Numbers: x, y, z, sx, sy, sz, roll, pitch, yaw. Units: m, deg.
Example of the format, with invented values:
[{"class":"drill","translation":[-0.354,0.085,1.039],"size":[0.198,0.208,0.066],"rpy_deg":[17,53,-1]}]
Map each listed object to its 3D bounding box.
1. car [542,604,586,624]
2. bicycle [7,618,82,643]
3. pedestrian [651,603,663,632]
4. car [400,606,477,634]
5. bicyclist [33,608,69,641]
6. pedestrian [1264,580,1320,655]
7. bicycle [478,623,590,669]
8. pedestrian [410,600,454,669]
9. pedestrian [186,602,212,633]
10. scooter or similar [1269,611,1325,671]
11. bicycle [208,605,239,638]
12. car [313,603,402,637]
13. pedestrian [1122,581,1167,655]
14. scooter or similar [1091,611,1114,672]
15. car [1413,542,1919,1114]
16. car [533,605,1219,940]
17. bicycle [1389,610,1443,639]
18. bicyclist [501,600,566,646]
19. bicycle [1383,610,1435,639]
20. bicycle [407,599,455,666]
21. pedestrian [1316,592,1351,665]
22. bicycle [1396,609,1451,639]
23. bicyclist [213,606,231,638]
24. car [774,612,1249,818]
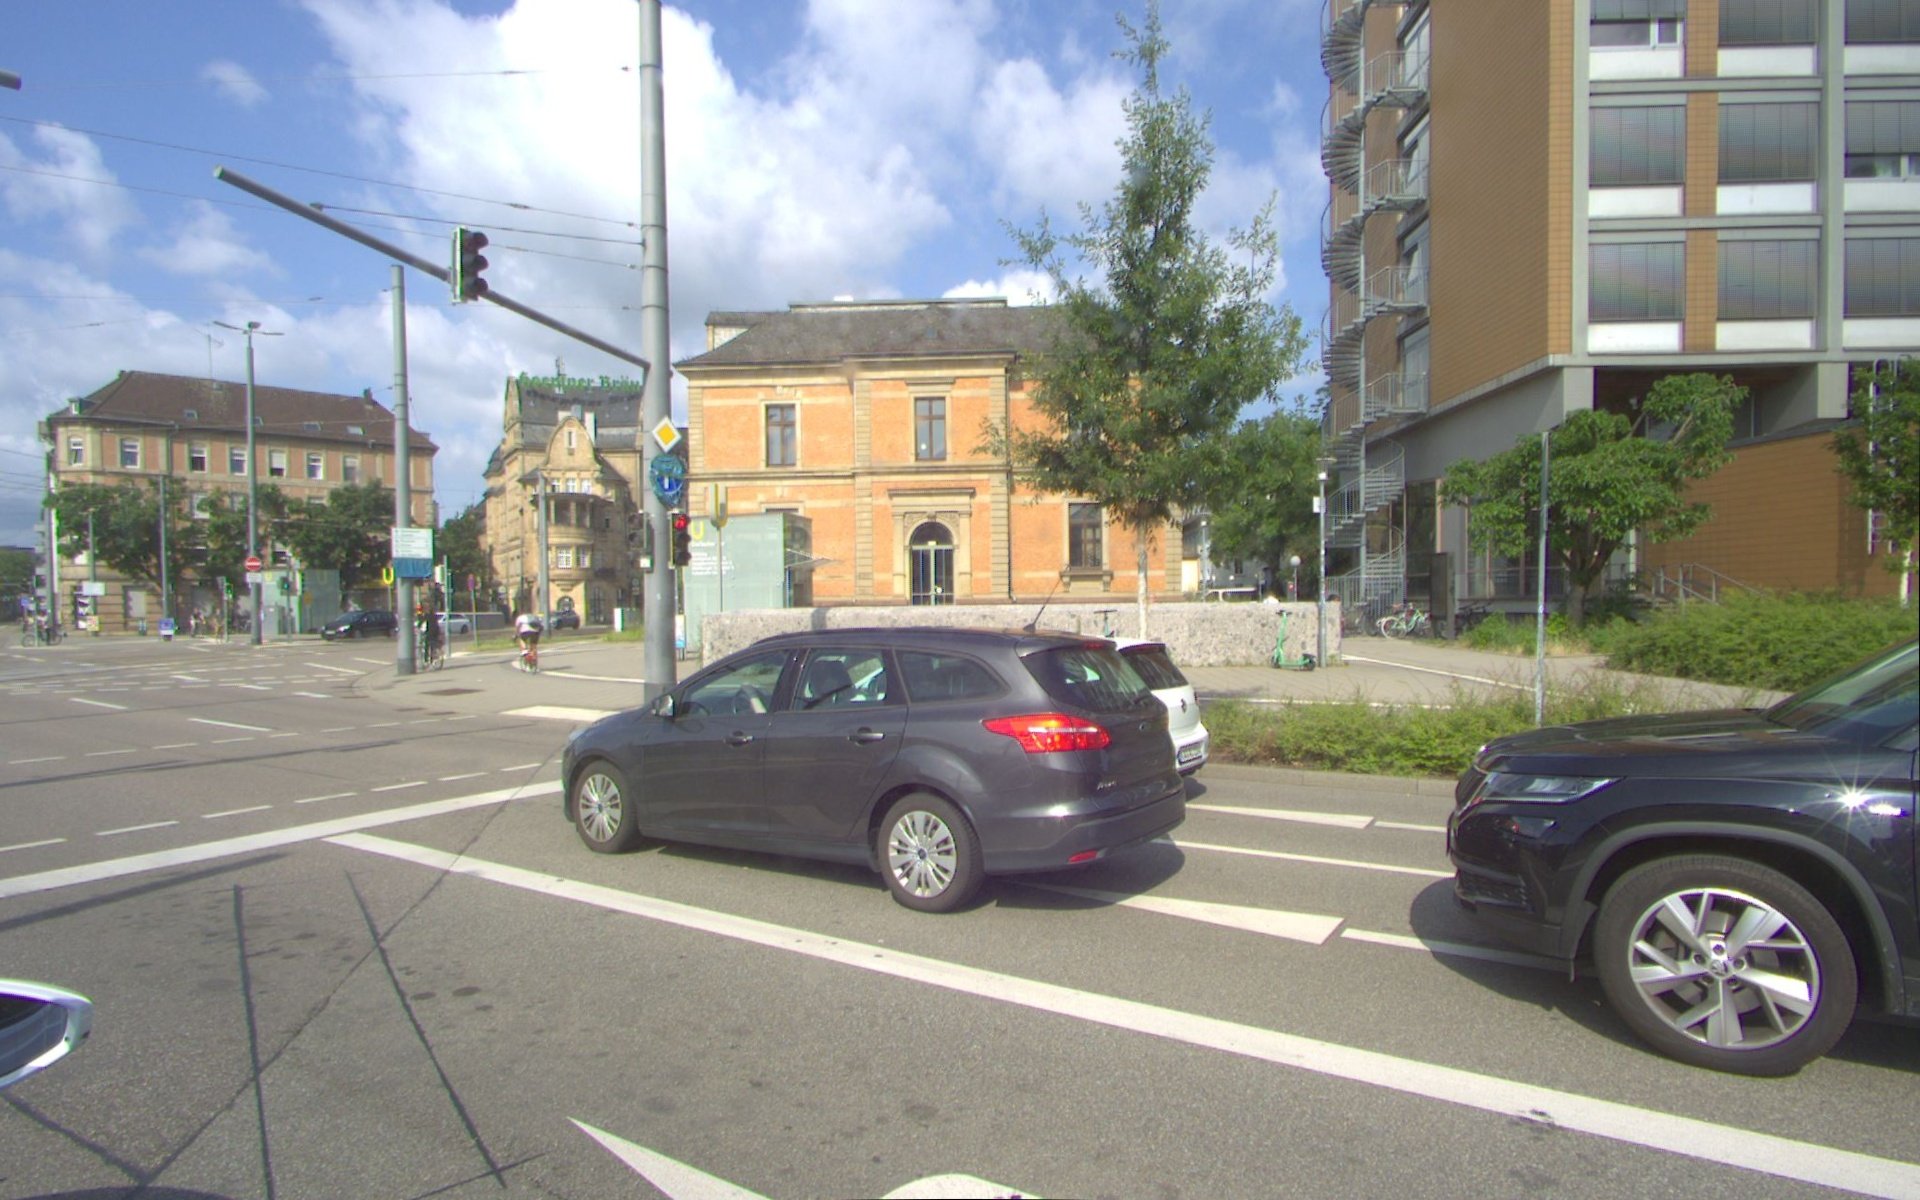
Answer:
[{"class":"car","translation":[-32.694,1.163,82.732],"size":[1.721,1.621,3.999],"rpy_deg":[-1,0,6]},{"class":"bicycle","translation":[-46.837,1.537,51.260],"size":[0.887,1.186,2.668],"rpy_deg":[0,0,29]},{"class":"pedestrian","translation":[-16.132,0.936,53.318],"size":[0.497,1.525,0.499],"rpy_deg":[-1,1,-2]},{"class":"car","translation":[-31.965,1.185,61.569],"size":[1.961,1.617,4.683],"rpy_deg":[0,0,6]},{"class":"bicyclist","translation":[-46.721,1.263,51.475],"size":[0.774,1.680,1.192],"rpy_deg":[0,1,30]},{"class":"pedestrian","translation":[7.488,0.371,22.620],"size":[0.753,1.610,0.934],"rpy_deg":[-3,3,-27]},{"class":"bicycle","translation":[-10.579,1.166,24.814],"size":[3.066,1.040,0.991],"rpy_deg":[-4,-4,32]},{"class":"pedestrian","translation":[-14.503,0.947,27.507],"size":[0.982,1.865,0.990],"rpy_deg":[1,-1,-32]},{"class":"pedestrian","translation":[-44.586,1.040,58.700],"size":[0.872,1.833,0.866],"rpy_deg":[-1,-1,21]},{"class":"scooter or similar","translation":[6.690,0.800,19.918],"size":[0.396,1.146,1.184],"rpy_deg":[-1,1,-19]},{"class":"bicycle","translation":[-39.985,1.158,54.385],"size":[1.612,1.801,0.728],"rpy_deg":[0,1,29]},{"class":"car","translation":[-32.932,1.126,54.874],"size":[1.961,1.761,4.343],"rpy_deg":[0,-2,5]},{"class":"pedestrian","translation":[4.168,0.395,22.600],"size":[0.754,1.610,0.768],"rpy_deg":[0,4,32]},{"class":"scooter or similar","translation":[2.952,0.841,20.796],"size":[0.395,1.212,1.186],"rpy_deg":[-1,1,6]},{"class":"car","translation":[4.153,0.686,3.338],"size":[4.616,1.689,1.991],"rpy_deg":[-2,-2,31]},{"class":"car","translation":[-0.651,0.864,6.493],"size":[4.193,1.547,1.766],"rpy_deg":[-1,-3,31]},{"class":"bicycle","translation":[14.875,0.798,32.702],"size":[1.520,0.916,0.459],"rpy_deg":[-1,0,5]},{"class":"bicyclist","translation":[-10.568,0.583,24.831],"size":[1.198,1.040,0.989],"rpy_deg":[-4,-4,32]},{"class":"bicycle","translation":[14.939,0.821,33.333],"size":[1.520,0.916,0.459],"rpy_deg":[-1,0,5]},{"class":"bicycle","translation":[-14.574,0.901,27.549],"size":[0.995,1.747,2.455],"rpy_deg":[1,-2,-32]},{"class":"pedestrian","translation":[8.034,0.610,21.544],"size":[0.573,1.541,0.476],"rpy_deg":[-1,1,36]},{"class":"bicycle","translation":[14.820,0.775,32.061],"size":[1.520,0.916,0.459],"rpy_deg":[-1,0,5]},{"class":"bicyclist","translation":[-39.977,1.188,54.242],"size":[0.646,1.693,0.571],"rpy_deg":[0,1,29]},{"class":"car","translation":[0.382,0.929,9.437],"size":[4.172,1.464,1.676],"rpy_deg":[1,-2,34]}]
